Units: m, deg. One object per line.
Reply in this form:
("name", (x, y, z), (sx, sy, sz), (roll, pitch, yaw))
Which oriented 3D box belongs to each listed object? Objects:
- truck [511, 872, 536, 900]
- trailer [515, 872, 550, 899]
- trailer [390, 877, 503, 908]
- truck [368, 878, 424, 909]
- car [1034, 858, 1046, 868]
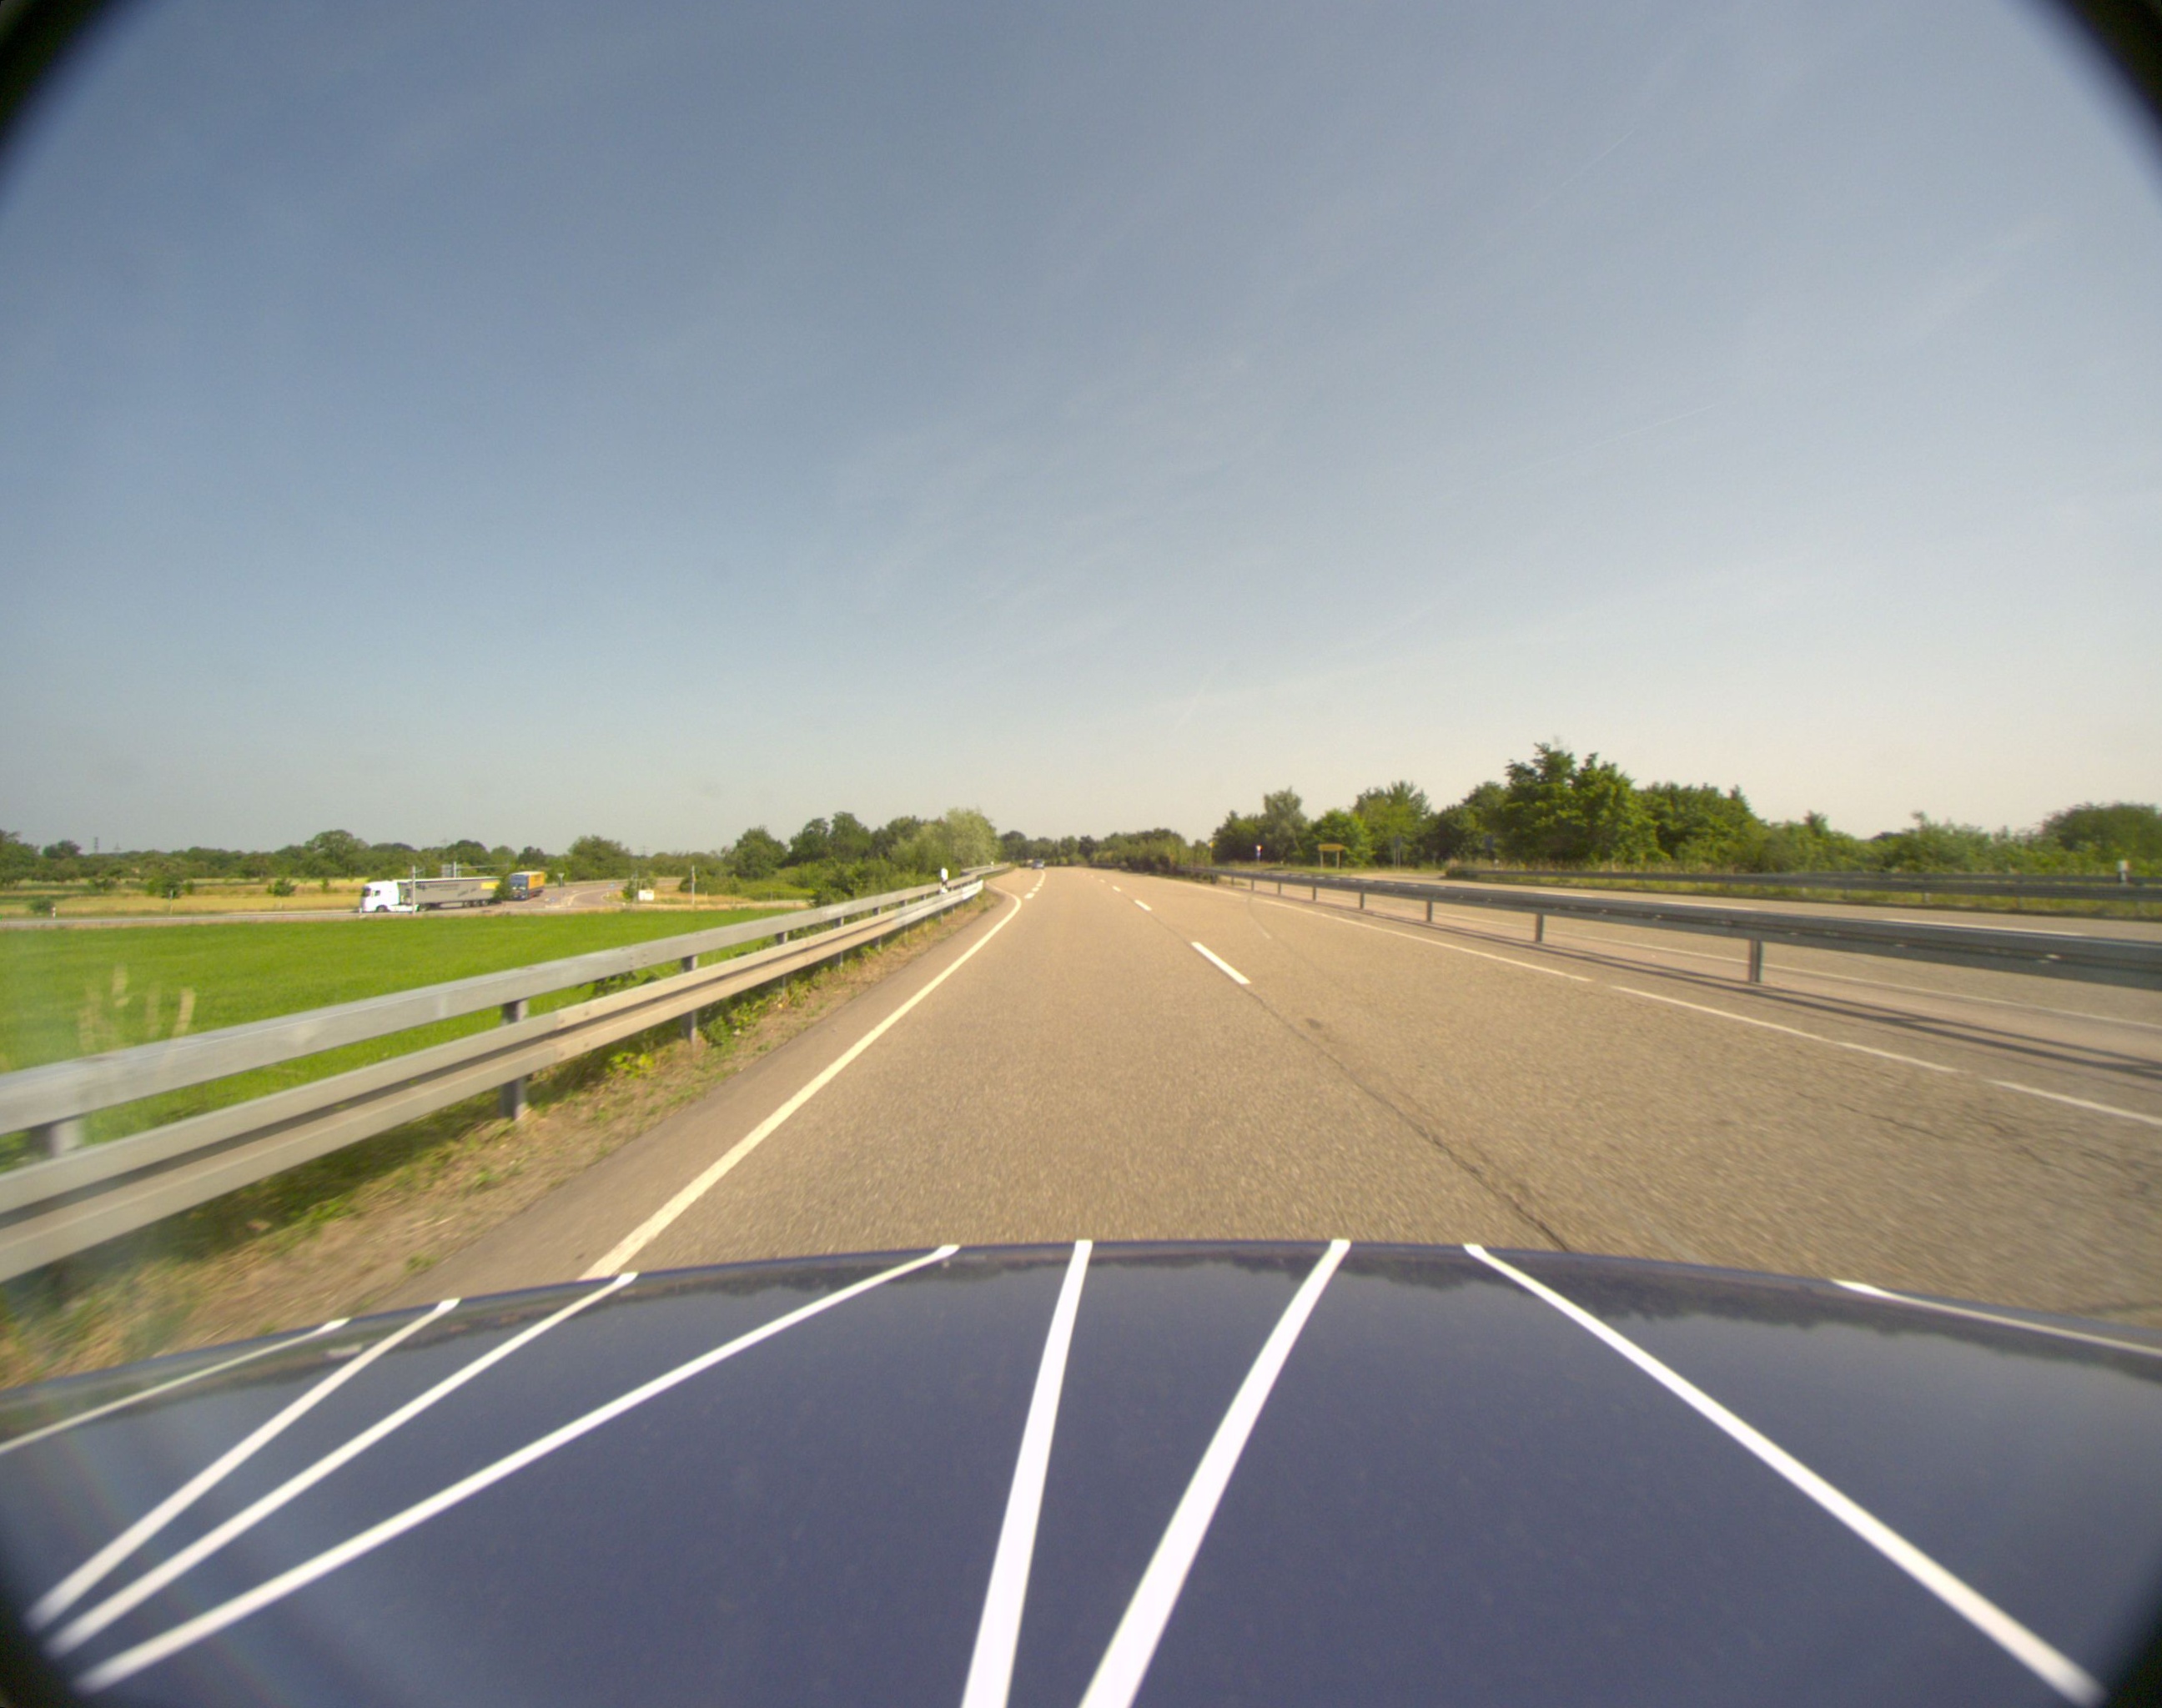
("truck", (-87.172, 4.983, 118.871), (2.265, 4.144, 4.363), (0, -1, -24))
("trailer", (-90.114, 5.083, 124.967), (2.265, 4.144, 14.395), (0, -1, -26))
("trailer", (-84.138, 5.008, 101.414), (2.106, 3.630, 13.941), (-1, -1, 7))
("truck", (-85.886, 4.903, 95.281), (2.102, 3.655, 4.954), (-1, -1, 41))
("car", (-6.346, 1.388, 117.785), (1.703, 1.473, 3.599), (-2, -2, -6))
